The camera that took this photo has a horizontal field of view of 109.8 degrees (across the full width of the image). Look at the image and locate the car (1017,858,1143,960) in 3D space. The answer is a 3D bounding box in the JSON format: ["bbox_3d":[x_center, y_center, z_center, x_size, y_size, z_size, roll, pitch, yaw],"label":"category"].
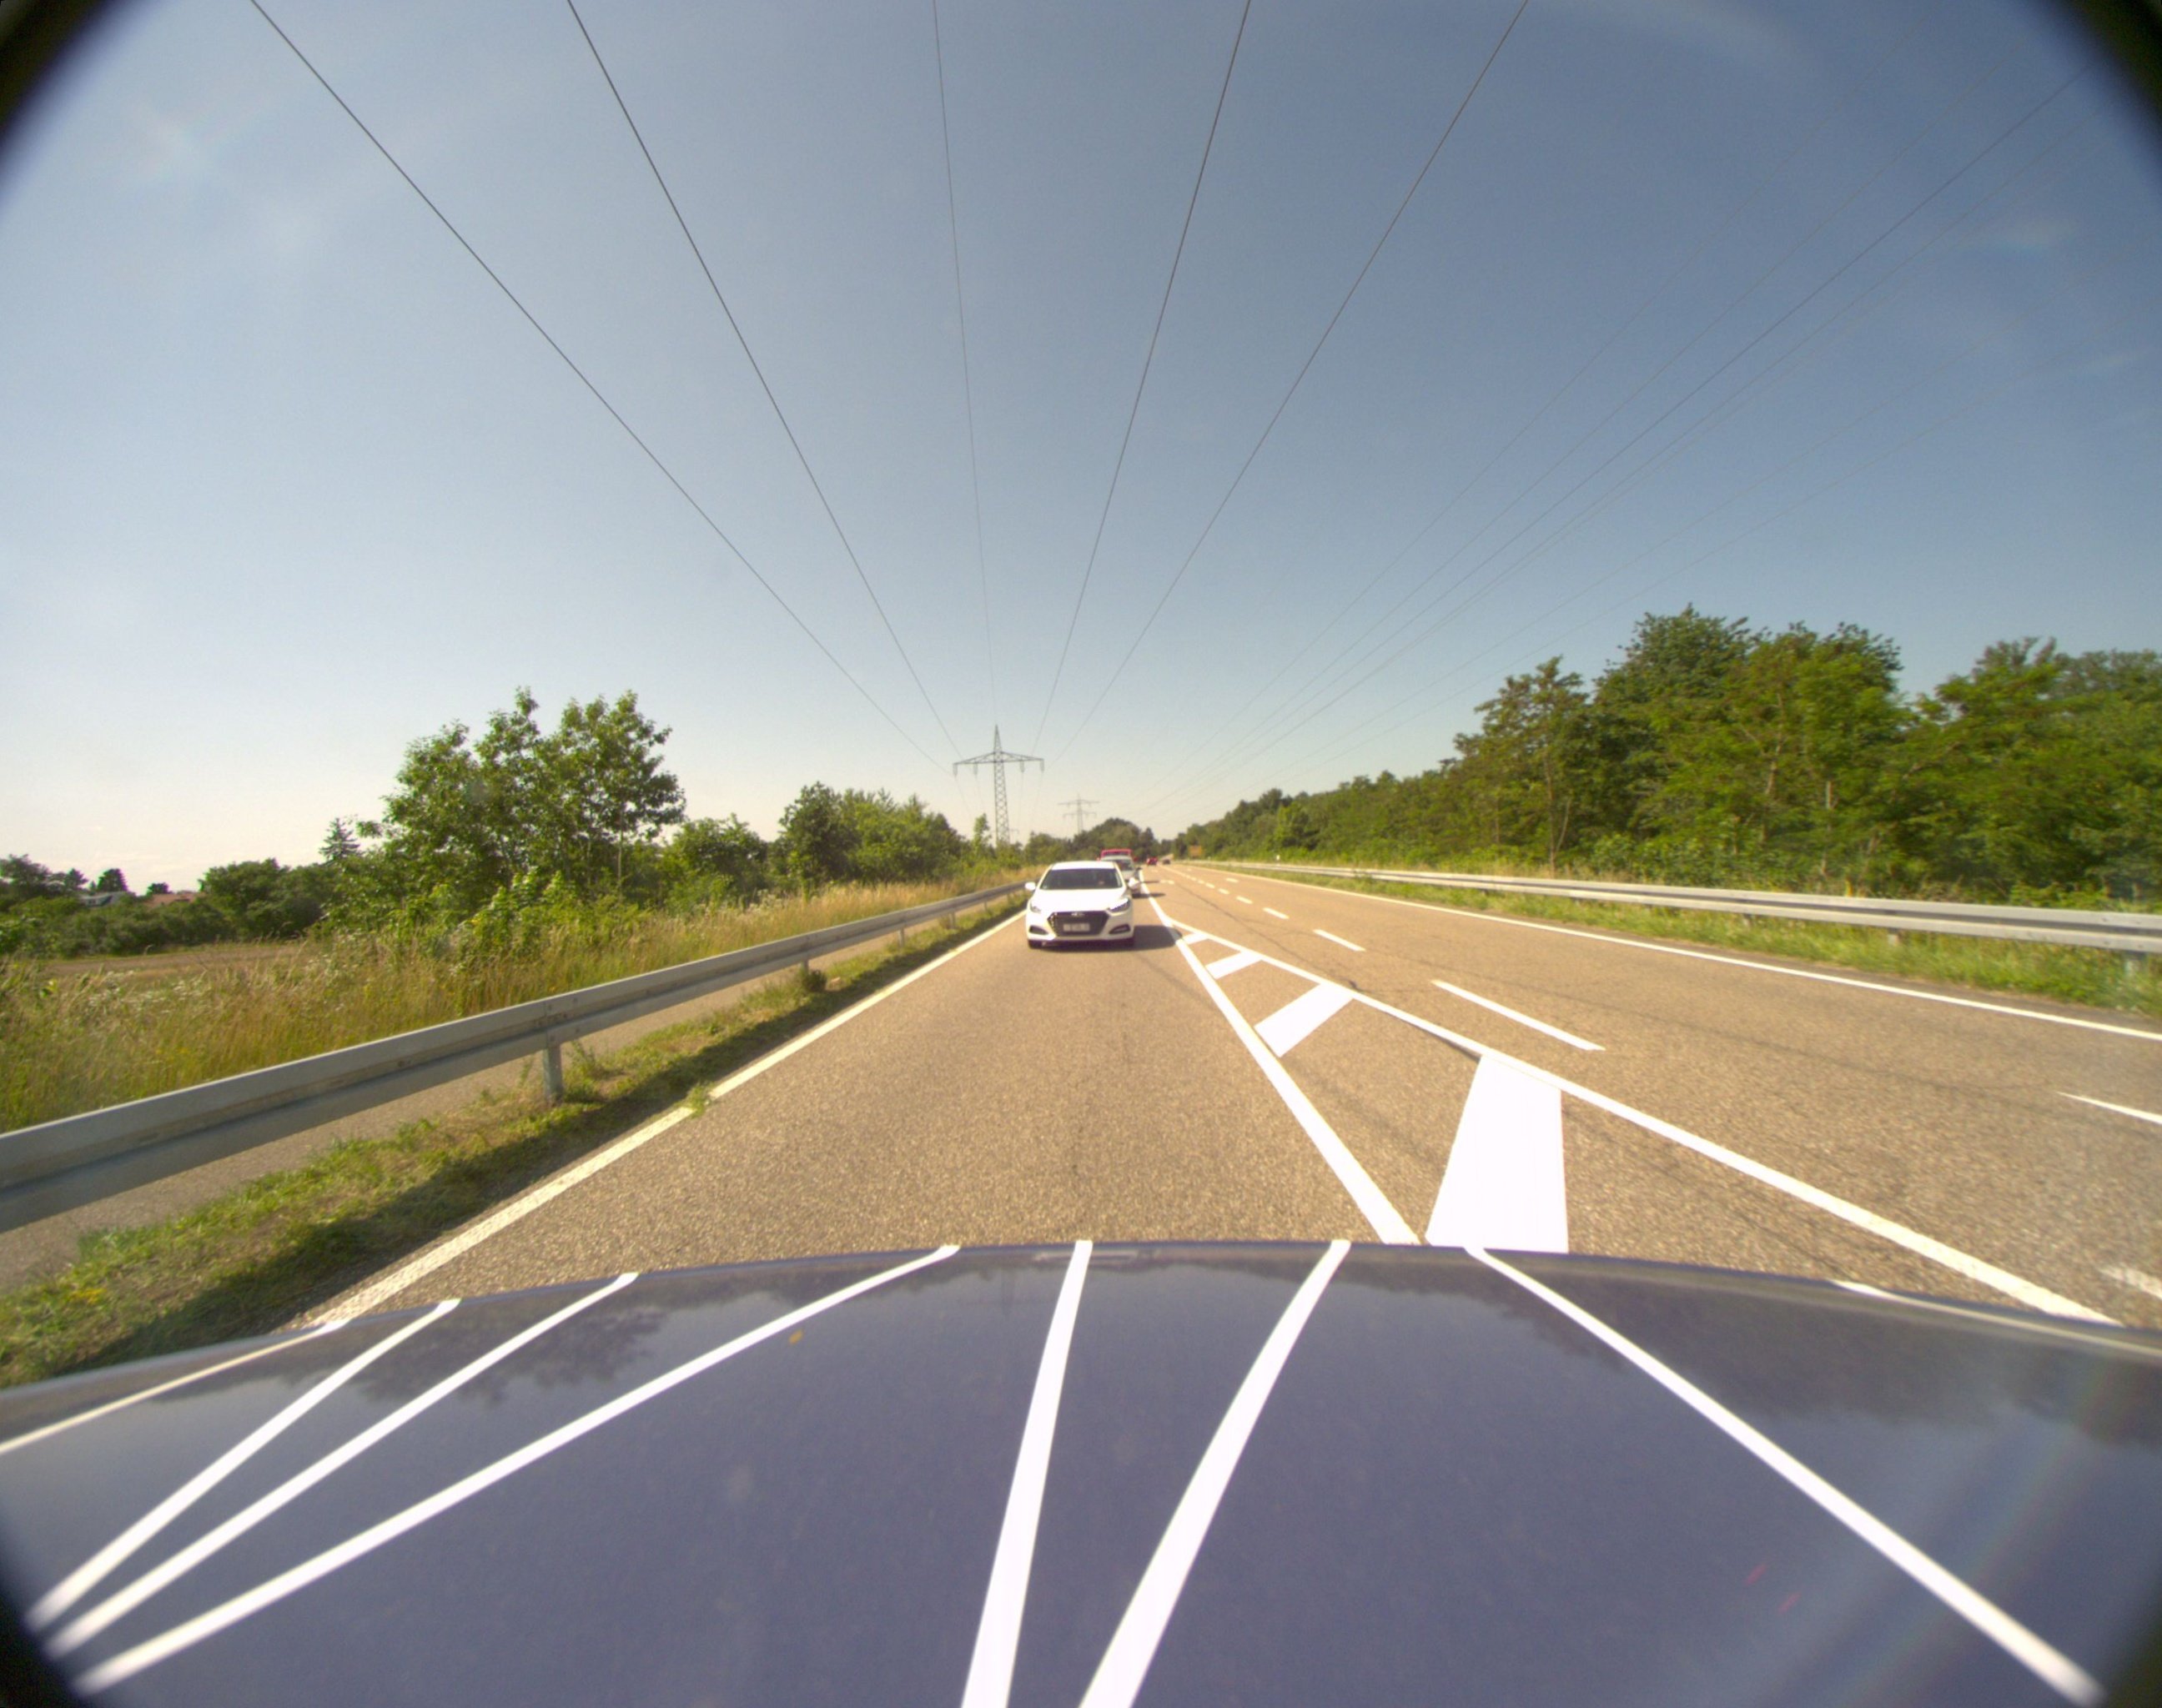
[{"bbox_3d":[0.089,0.882,14.334,1.922,1.496,4.794,-2,0,2],"label":"car"}]

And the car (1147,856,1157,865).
[{"bbox_3d":[13.437,1.184,143.776,1.833,1.574,4.001,-1,0,3],"label":"car"}]

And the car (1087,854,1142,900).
[{"bbox_3d":[1.310,0.832,29.673,1.922,1.540,4.794,-2,0,2],"label":"car"}]

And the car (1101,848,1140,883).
[{"bbox_3d":[2.315,0.655,45.586,2.126,1.934,5.019,-2,0,1],"label":"car"}]

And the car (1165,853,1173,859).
[{"bbox_3d":[21.384,0.509,184.480,1.832,1.574,4.002,-1,0,6],"label":"car"}]
